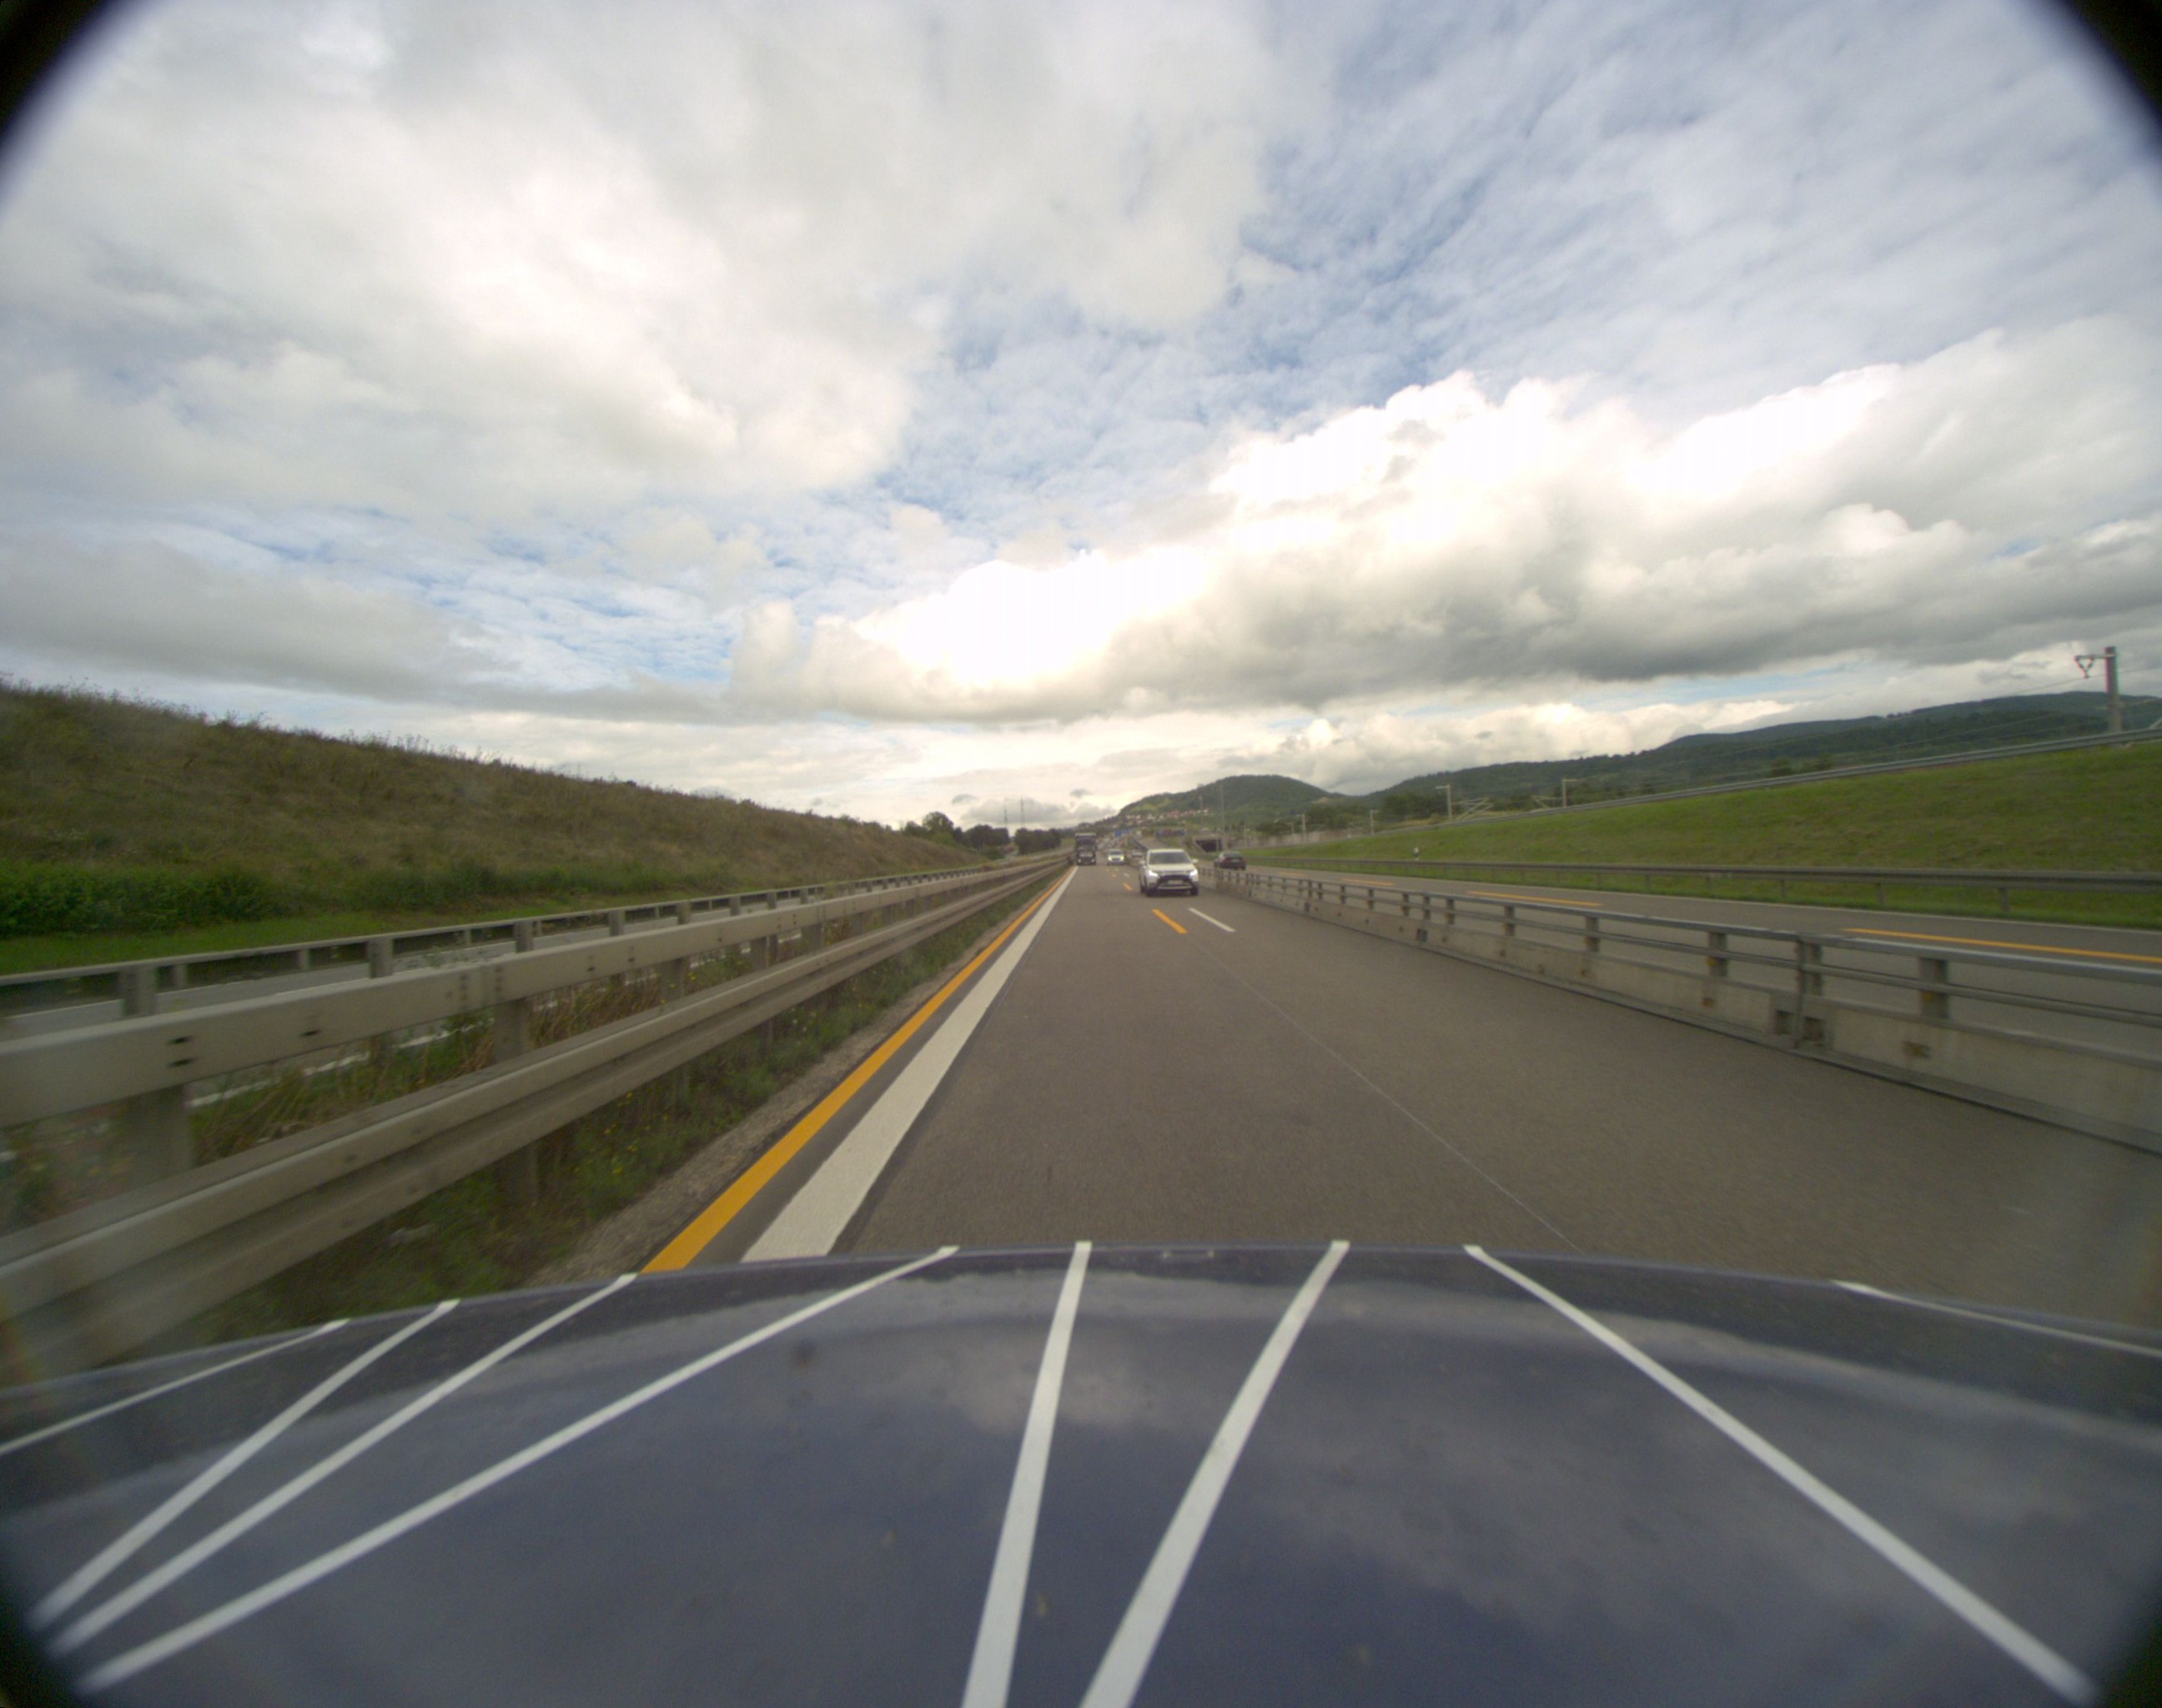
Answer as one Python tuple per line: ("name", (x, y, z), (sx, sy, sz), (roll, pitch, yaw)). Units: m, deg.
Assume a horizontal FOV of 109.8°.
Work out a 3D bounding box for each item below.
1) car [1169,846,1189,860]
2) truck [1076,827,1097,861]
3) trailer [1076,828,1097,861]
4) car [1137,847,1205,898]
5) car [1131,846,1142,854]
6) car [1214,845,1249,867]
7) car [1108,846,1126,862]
("car", (11.503, -0.087, 89.298), (1.894, 1.517, 4.182), (-2, 0, 1))
("truck", (0.769, -1.226, 97.098), (2.521, 4.081, 5.685), (-2, 1, 1))
("trailer", (0.867, -1.281, 101.985), (2.521, 4.081, 11.112), (-2, 0, 1))
("car", (3.138, 0.597, 27.324), (1.998, 1.618, 4.607), (-2, 0, 2))
("car", (11.304, -0.793, 154.841), (2.094, 1.571, 4.281), (-2, 1, 1))
("car", (11.071, 0.110, 56.169), (1.792, 1.507, 4.135), (-2, 1, 1))
("car", (4.276, -0.024, 90.461), (1.991, 1.787, 4.585), (-2, 0, 1))
